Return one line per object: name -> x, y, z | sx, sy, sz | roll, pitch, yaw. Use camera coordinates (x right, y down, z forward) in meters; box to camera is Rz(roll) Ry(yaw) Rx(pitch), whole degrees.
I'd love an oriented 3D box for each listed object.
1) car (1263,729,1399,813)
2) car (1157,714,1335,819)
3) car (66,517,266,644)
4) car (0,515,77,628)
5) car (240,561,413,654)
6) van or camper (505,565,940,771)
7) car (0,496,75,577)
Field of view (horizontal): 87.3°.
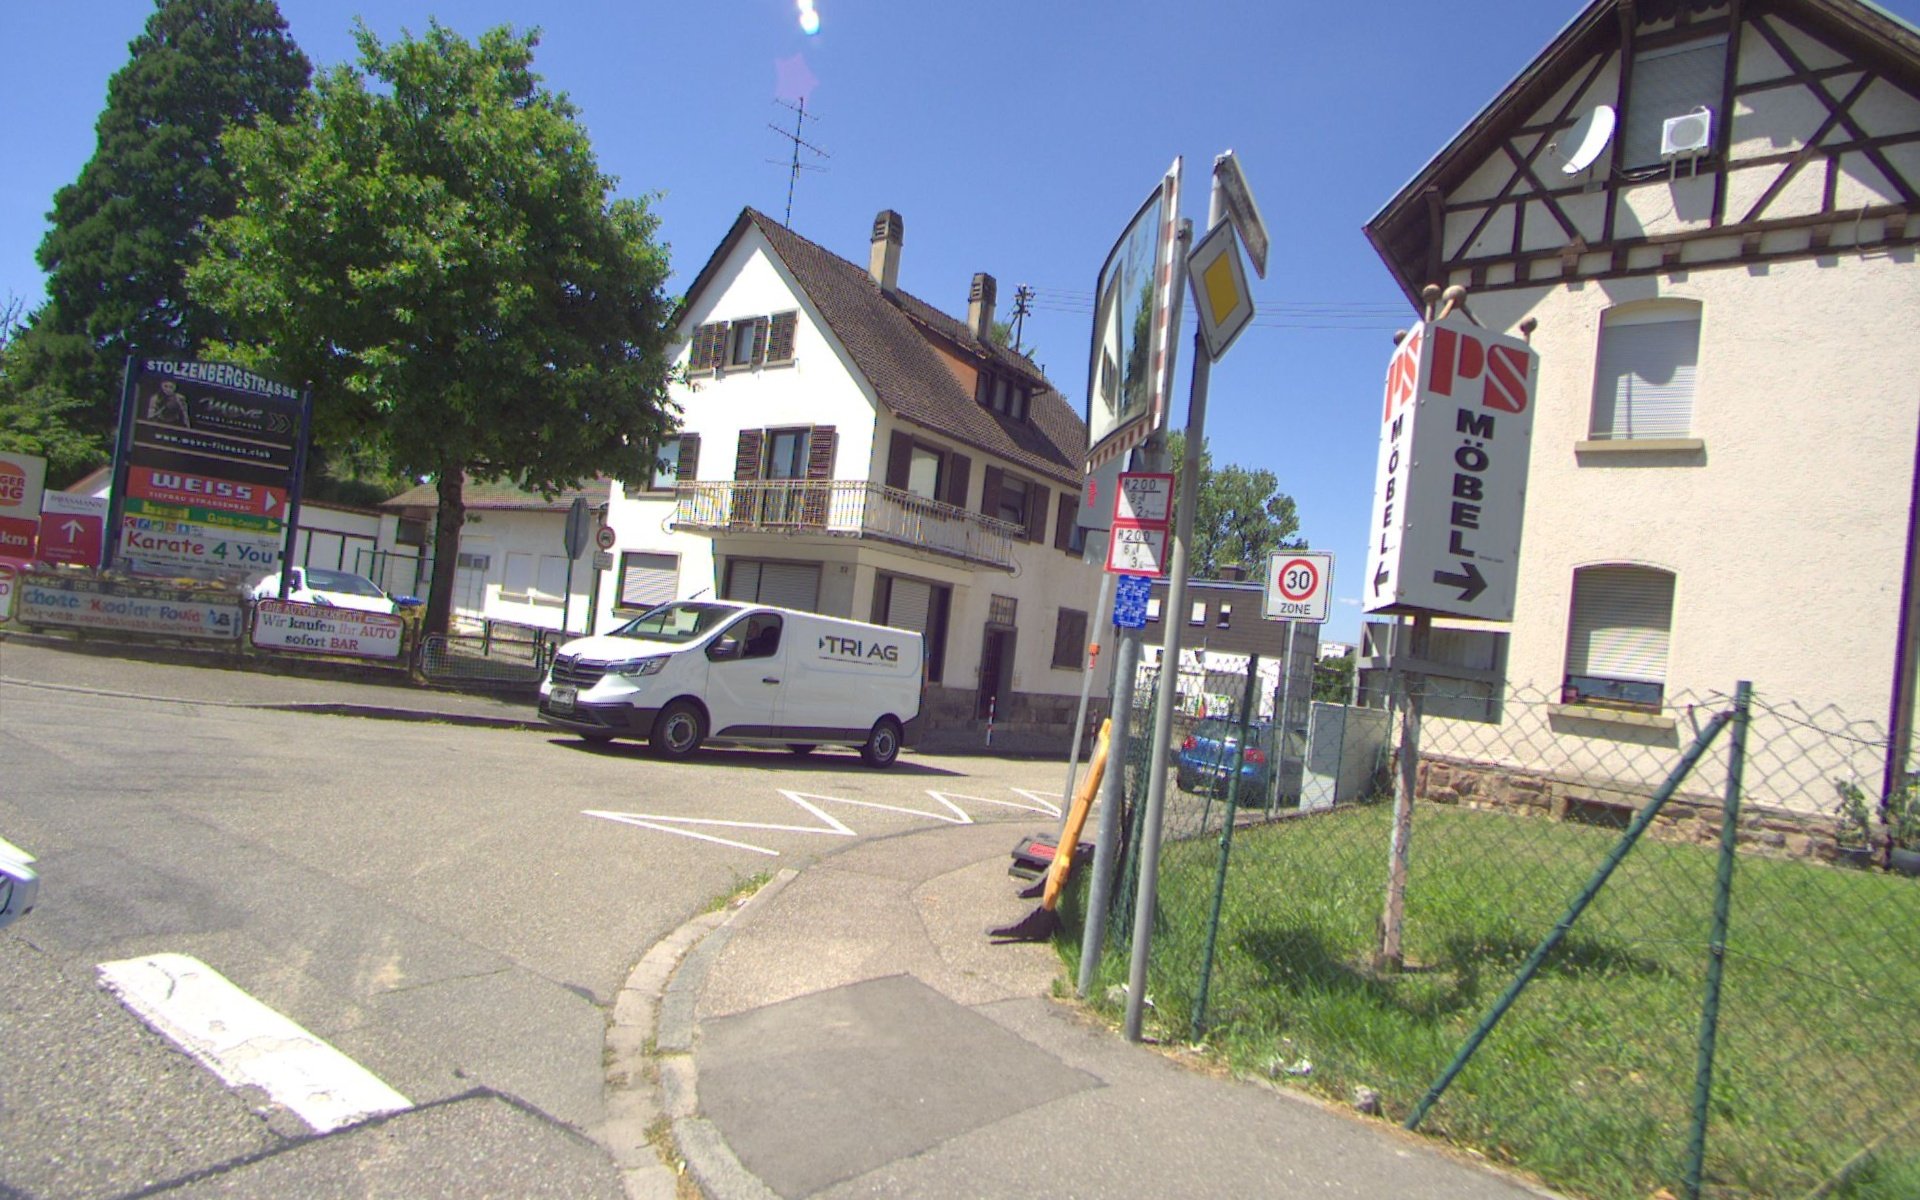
car -> 8.479, 3.889, 22.820 | 1.789, 1.458, 3.623 | 6, -5, 37
car -> 5.419, 3.115, 18.736 | 1.789, 1.458, 3.890 | 6, -5, 37
car -> -13.804, -0.391, 17.395 | 4.397, 1.683, 1.712 | 5, -5, 41
car -> -15.278, -0.600, 15.488 | 3.782, 1.541, 1.712 | 6, -2, 38
car -> -12.055, 0.125, 19.082 | 3.336, 1.284, 1.712 | 6, -3, 40
van or camper -> -2.792, 1.041, 13.254 | 1.971, 1.998, 5.352 | 4, -7, 38
car -> -26.296, -1.873, 27.392 | 4.094, 1.817, 1.783 | 6, -6, 29
